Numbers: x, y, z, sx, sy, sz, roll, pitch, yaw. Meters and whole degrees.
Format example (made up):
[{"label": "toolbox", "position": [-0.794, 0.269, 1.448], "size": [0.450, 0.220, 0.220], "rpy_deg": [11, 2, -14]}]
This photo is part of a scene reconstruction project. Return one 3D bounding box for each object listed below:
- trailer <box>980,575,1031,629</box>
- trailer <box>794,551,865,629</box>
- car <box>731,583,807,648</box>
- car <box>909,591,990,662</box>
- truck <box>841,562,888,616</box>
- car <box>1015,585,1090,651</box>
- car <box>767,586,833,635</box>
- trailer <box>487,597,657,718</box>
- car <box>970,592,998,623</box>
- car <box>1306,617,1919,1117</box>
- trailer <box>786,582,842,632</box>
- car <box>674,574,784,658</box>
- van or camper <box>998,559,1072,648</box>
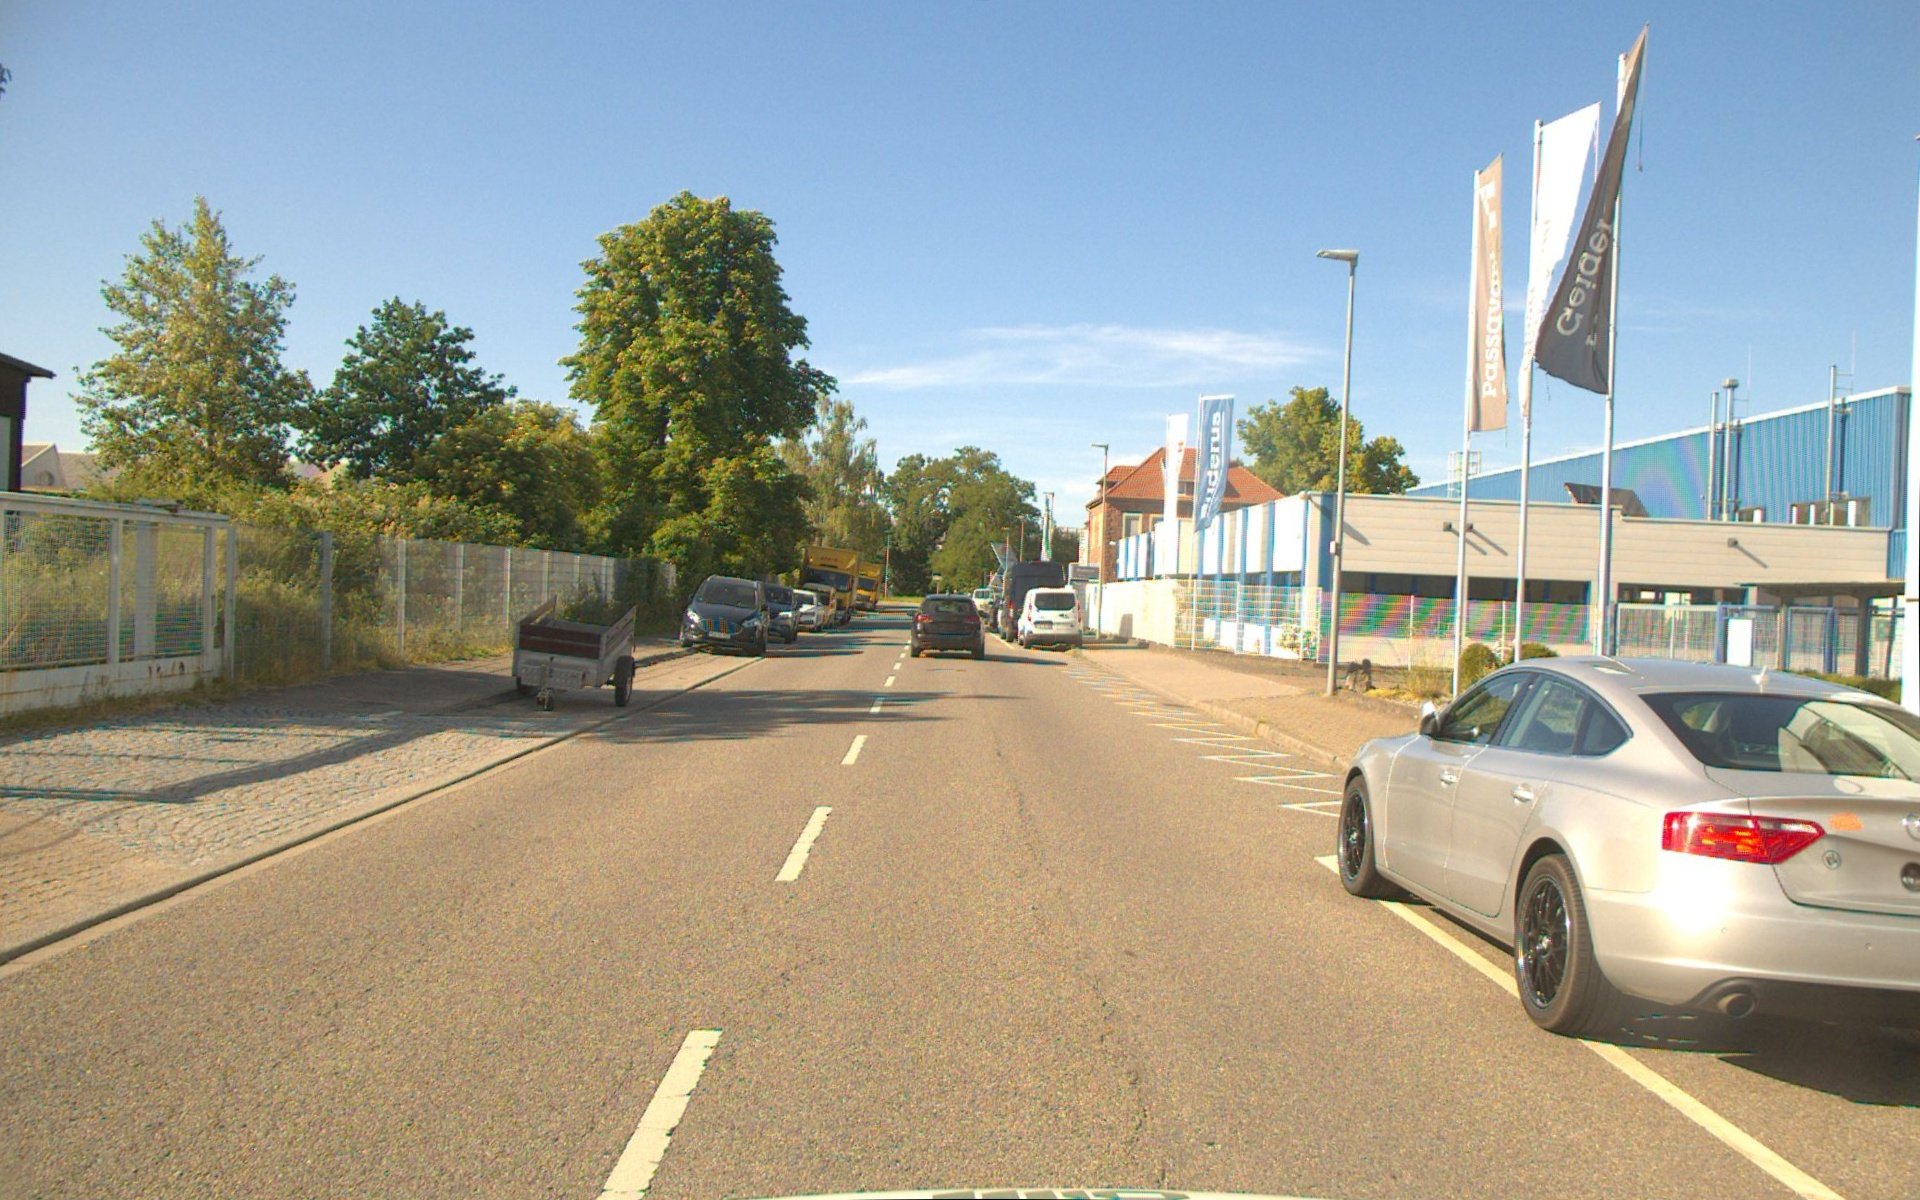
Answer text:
[{"label": "trailer", "position": [2.378, 0.115, 88.101], "size": [2.410, 2.719, 5.700], "rpy_deg": [2, 0, -1]}, {"label": "trailer", "position": [-6.276, -0.439, 80.764], "size": [2.931, 3.503, 8.158], "rpy_deg": [2, 0, -2]}, {"label": "car", "position": [-5.777, 0.429, 50.561], "size": [1.871, 1.690, 4.461], "rpy_deg": [7, 0, -3]}, {"label": "car", "position": [-0.229, 0.582, 39.606], "size": [1.809, 1.556, 4.000], "rpy_deg": [2, 0, 0]}, {"label": "truck", "position": [-7.133, -0.867, 124.299], "size": [2.580, 3.563, 8.656], "rpy_deg": [8, 1, 0]}, {"label": "car", "position": [2.840, 0.548, 51.872], "size": [1.848, 1.829, 5.102], "rpy_deg": [4, 0, -2]}, {"label": "car", "position": [-6.126, 0.379, 63.928], "size": [1.870, 1.620, 5.025], "rpy_deg": [7, 0, 0]}, {"label": "trailer", "position": [-5.013, 0.700, 21.698], "size": [1.447, 1.377, 3.078], "rpy_deg": [4, 0, -1]}, {"label": "car", "position": [1.704, 0.516, 118.369], "size": [1.836, 2.048, 5.160], "rpy_deg": [4, 0, 0]}, {"label": "car", "position": [3.114, 0.866, 7.524], "size": [1.856, 1.429, 5.123], "rpy_deg": [4, 0, -1]}, {"label": "trailer", "position": [-6.119, 0.306, 69.855], "size": [1.953, 1.975, 4.414], "rpy_deg": [2, 0, -1]}, {"label": "car", "position": [-5.443, 0.351, 39.584], "size": [1.755, 1.760, 4.803], "rpy_deg": [4, 0, 1]}, {"label": "van or camper", "position": [2.574, 0.136, 58.310], "size": [2.097, 2.807, 6.160], "rpy_deg": [4, 0, -1]}]
